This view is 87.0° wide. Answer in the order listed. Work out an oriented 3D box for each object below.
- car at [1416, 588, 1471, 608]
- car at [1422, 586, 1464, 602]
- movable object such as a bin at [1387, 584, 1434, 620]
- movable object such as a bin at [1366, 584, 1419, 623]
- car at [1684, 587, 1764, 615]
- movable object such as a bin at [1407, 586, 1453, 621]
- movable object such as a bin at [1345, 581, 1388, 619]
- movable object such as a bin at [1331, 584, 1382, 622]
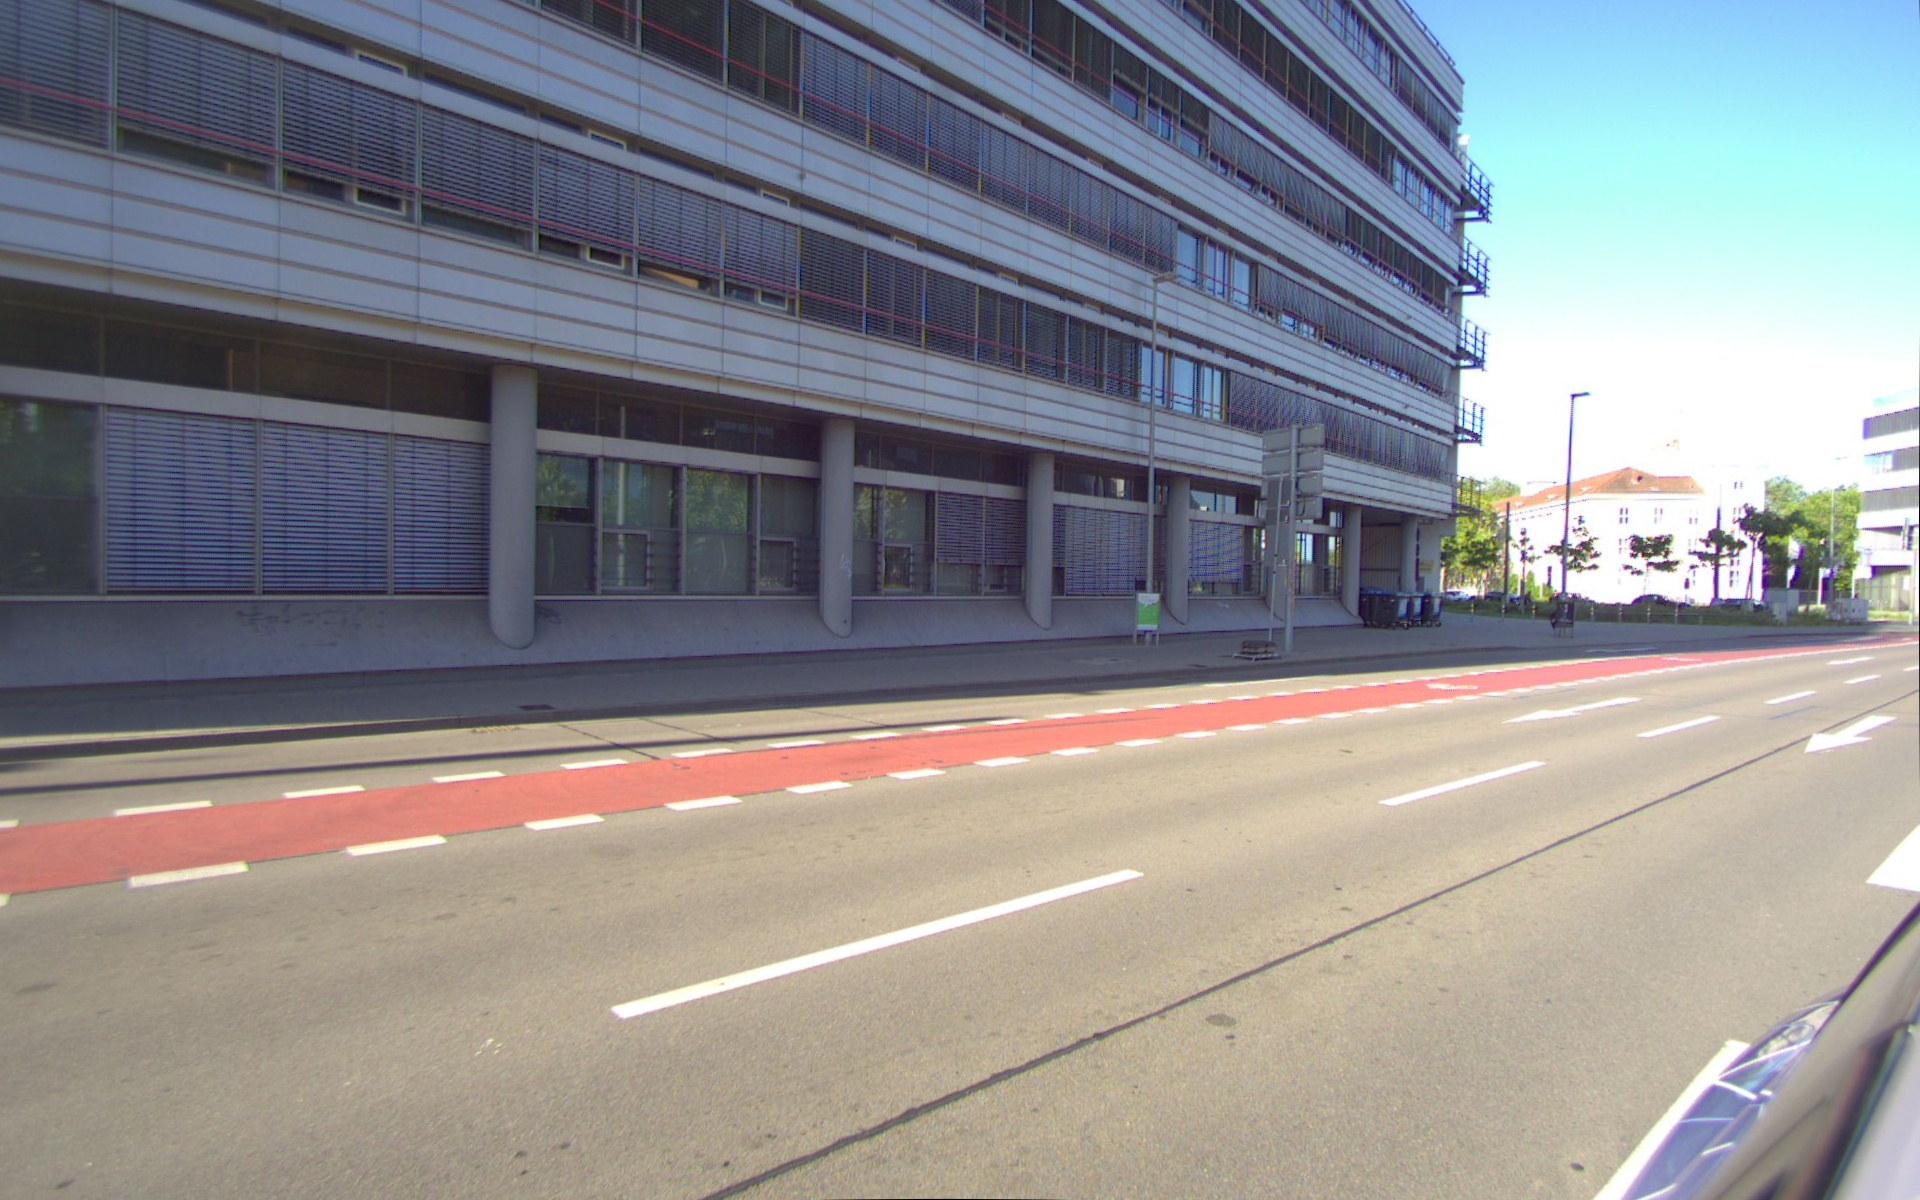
[{"bbox_3d":[39.976,-0.151,83.762,1.705,1.551,3.807,0,2,-28],"label":"car"},{"bbox_3d":[49.299,-0.594,103.298,3.773,1.551,1.720,2,2,32],"label":"car"},{"bbox_3d":[17.152,0.073,38.539,1.305,1.317,1.173,0,2,-40],"label":"movable object such as a bin"},{"bbox_3d":[15.321,0.113,35.851,1.153,1.317,1.327,0,2,-40],"label":"movable object such as a bin"},{"bbox_3d":[45.862,0.044,60.830,1.706,1.551,3.806,1,1,-4],"label":"car"},{"bbox_3d":[18.244,0.123,39.293,1.305,1.317,1.173,0,2,-40],"label":"movable object such as a bin"},{"bbox_3d":[15.516,-0.006,38.614,1.088,1.391,1.109,0,1,-40],"label":"movable object such as a bin"},{"bbox_3d":[14.469,0.105,36.918,1.153,1.317,1.327,0,2,-40],"label":"movable object such as a bin"}]
